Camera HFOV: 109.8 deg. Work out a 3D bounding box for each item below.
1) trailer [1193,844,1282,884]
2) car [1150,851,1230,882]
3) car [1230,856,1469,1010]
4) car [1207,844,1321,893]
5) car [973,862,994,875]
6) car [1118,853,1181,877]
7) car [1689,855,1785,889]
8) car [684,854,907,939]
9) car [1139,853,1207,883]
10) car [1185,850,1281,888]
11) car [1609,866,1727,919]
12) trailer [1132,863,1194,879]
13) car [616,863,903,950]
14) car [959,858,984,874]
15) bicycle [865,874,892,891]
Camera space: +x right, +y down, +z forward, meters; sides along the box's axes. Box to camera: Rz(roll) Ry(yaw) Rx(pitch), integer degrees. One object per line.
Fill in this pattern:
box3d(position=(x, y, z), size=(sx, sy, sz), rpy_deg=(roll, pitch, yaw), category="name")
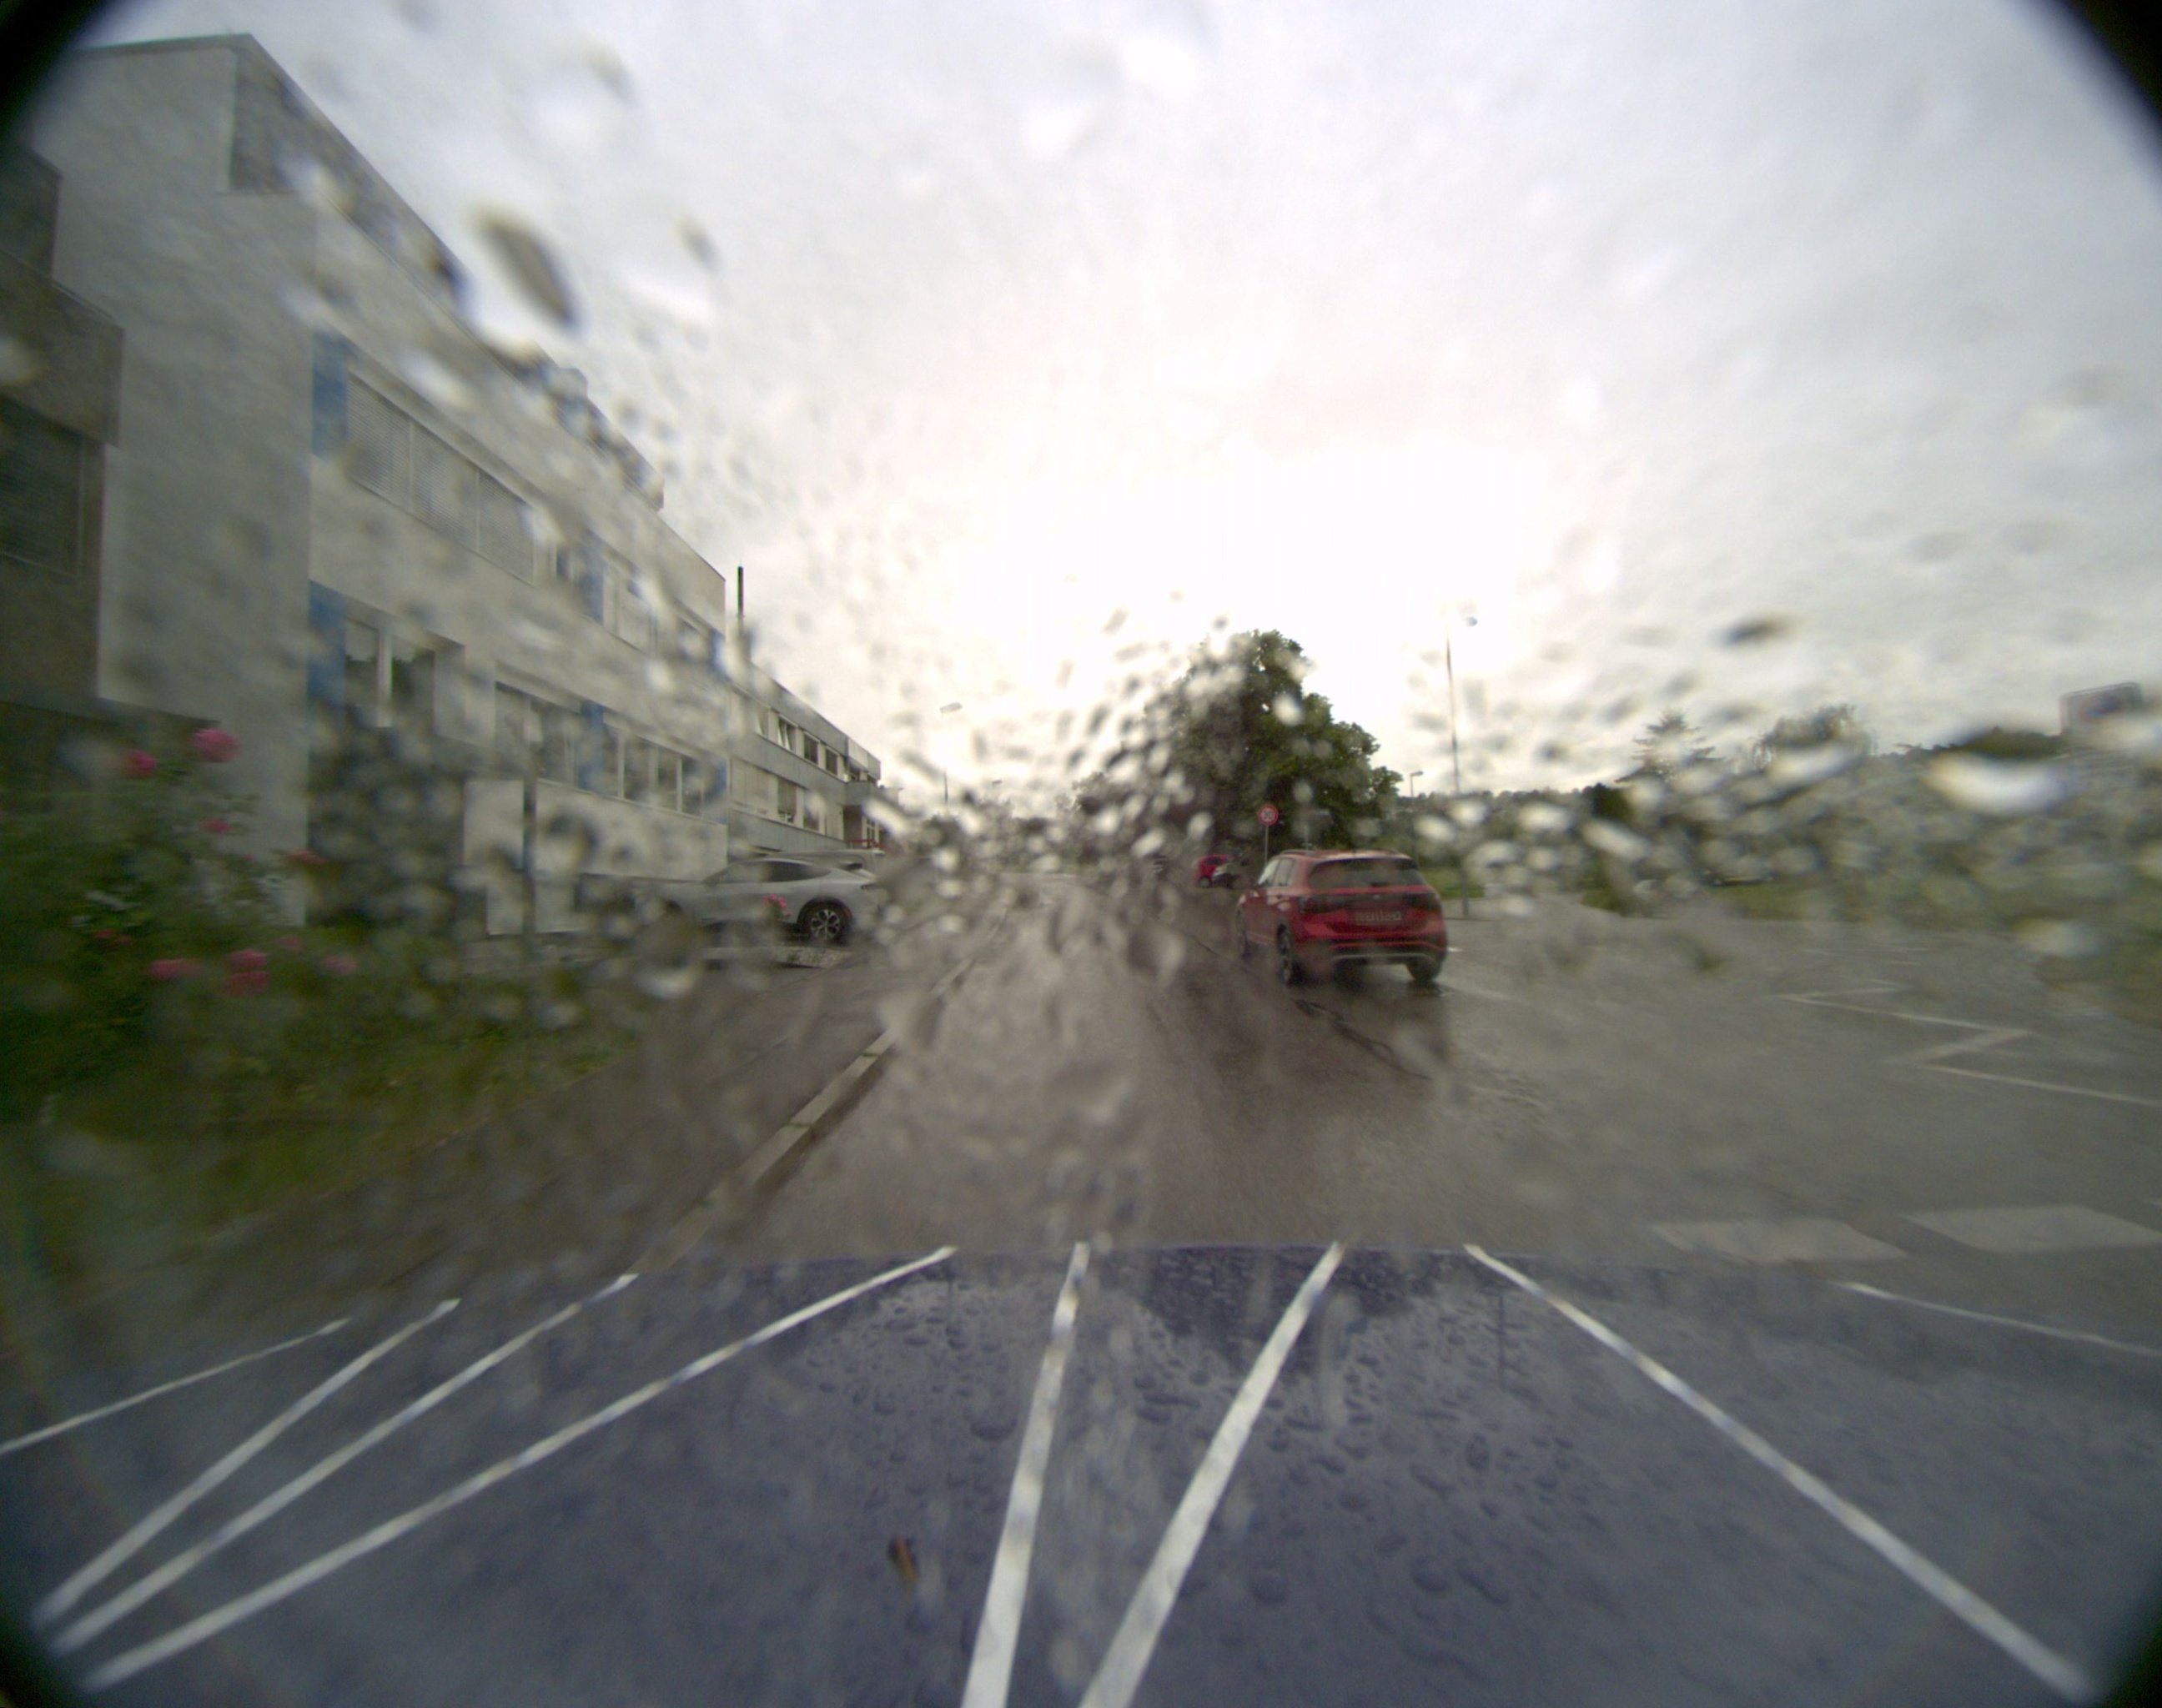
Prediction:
box3d(position=(8.136, 0.503, 39.767), size=(4.224, 1.972, 1.773), rpy_deg=(-1, 1, -4), category="trailer")
box3d(position=(6.739, 0.773, 47.290), size=(4.631, 1.580, 1.805), rpy_deg=(-3, 1, -4), category="car")
box3d(position=(3.181, 0.836, 9.873), size=(1.751, 1.499, 3.935), rpy_deg=(-2, 0, 2), category="car")
box3d(position=(7.592, 0.584, 31.800), size=(4.310, 1.895, 1.862), rpy_deg=(-1, 0, 2), category="car")
box3d(position=(-13.611, 2.018, 105.734), size=(1.819, 1.717, 4.644), rpy_deg=(-2, 0, -21), category="car")
box3d(position=(5.160, 0.811, 57.807), size=(4.381, 1.712, 2.043), rpy_deg=(-1, 0, -8), category="car")
box3d(position=(43.788, 1.164, 50.836), size=(4.493, 2.207, 1.933), rpy_deg=(0, 0, 18), category="car")
box3d(position=(-6.443, 0.927, 17.600), size=(4.352, 1.762, 2.088), rpy_deg=(-1, 0, -3), category="car")
box3d(position=(6.004, 0.882, 49.943), size=(4.085, 1.712, 2.025), rpy_deg=(-3, 0, -2), category="car")
box3d(position=(7.318, 0.694, 36.808), size=(4.209, 1.712, 1.754), rpy_deg=(-1, 0, -7), category="car")
box3d(position=(21.037, 1.441, 27.477), size=(1.996, 1.742, 4.393), rpy_deg=(-1, -4, 18), category="car")
box3d(position=(5.633, 1.168, 52.576), size=(3.953, 0.955, 1.999), rpy_deg=(-3, -1, -6), category="trailer")
box3d(position=(-5.932, 0.942, 14.522), size=(4.609, 1.529, 2.079), rpy_deg=(0, 0, -2), category="car")
box3d(position=(-16.044, 1.758, 111.237), size=(2.057, 2.317, 5.396), rpy_deg=(-2, -1, -26), category="car")
box3d(position=(-11.803, 1.655, 44.319), size=(1.473, 0.896, 0.285), rpy_deg=(-2, 0, -25), category="bicycle")
